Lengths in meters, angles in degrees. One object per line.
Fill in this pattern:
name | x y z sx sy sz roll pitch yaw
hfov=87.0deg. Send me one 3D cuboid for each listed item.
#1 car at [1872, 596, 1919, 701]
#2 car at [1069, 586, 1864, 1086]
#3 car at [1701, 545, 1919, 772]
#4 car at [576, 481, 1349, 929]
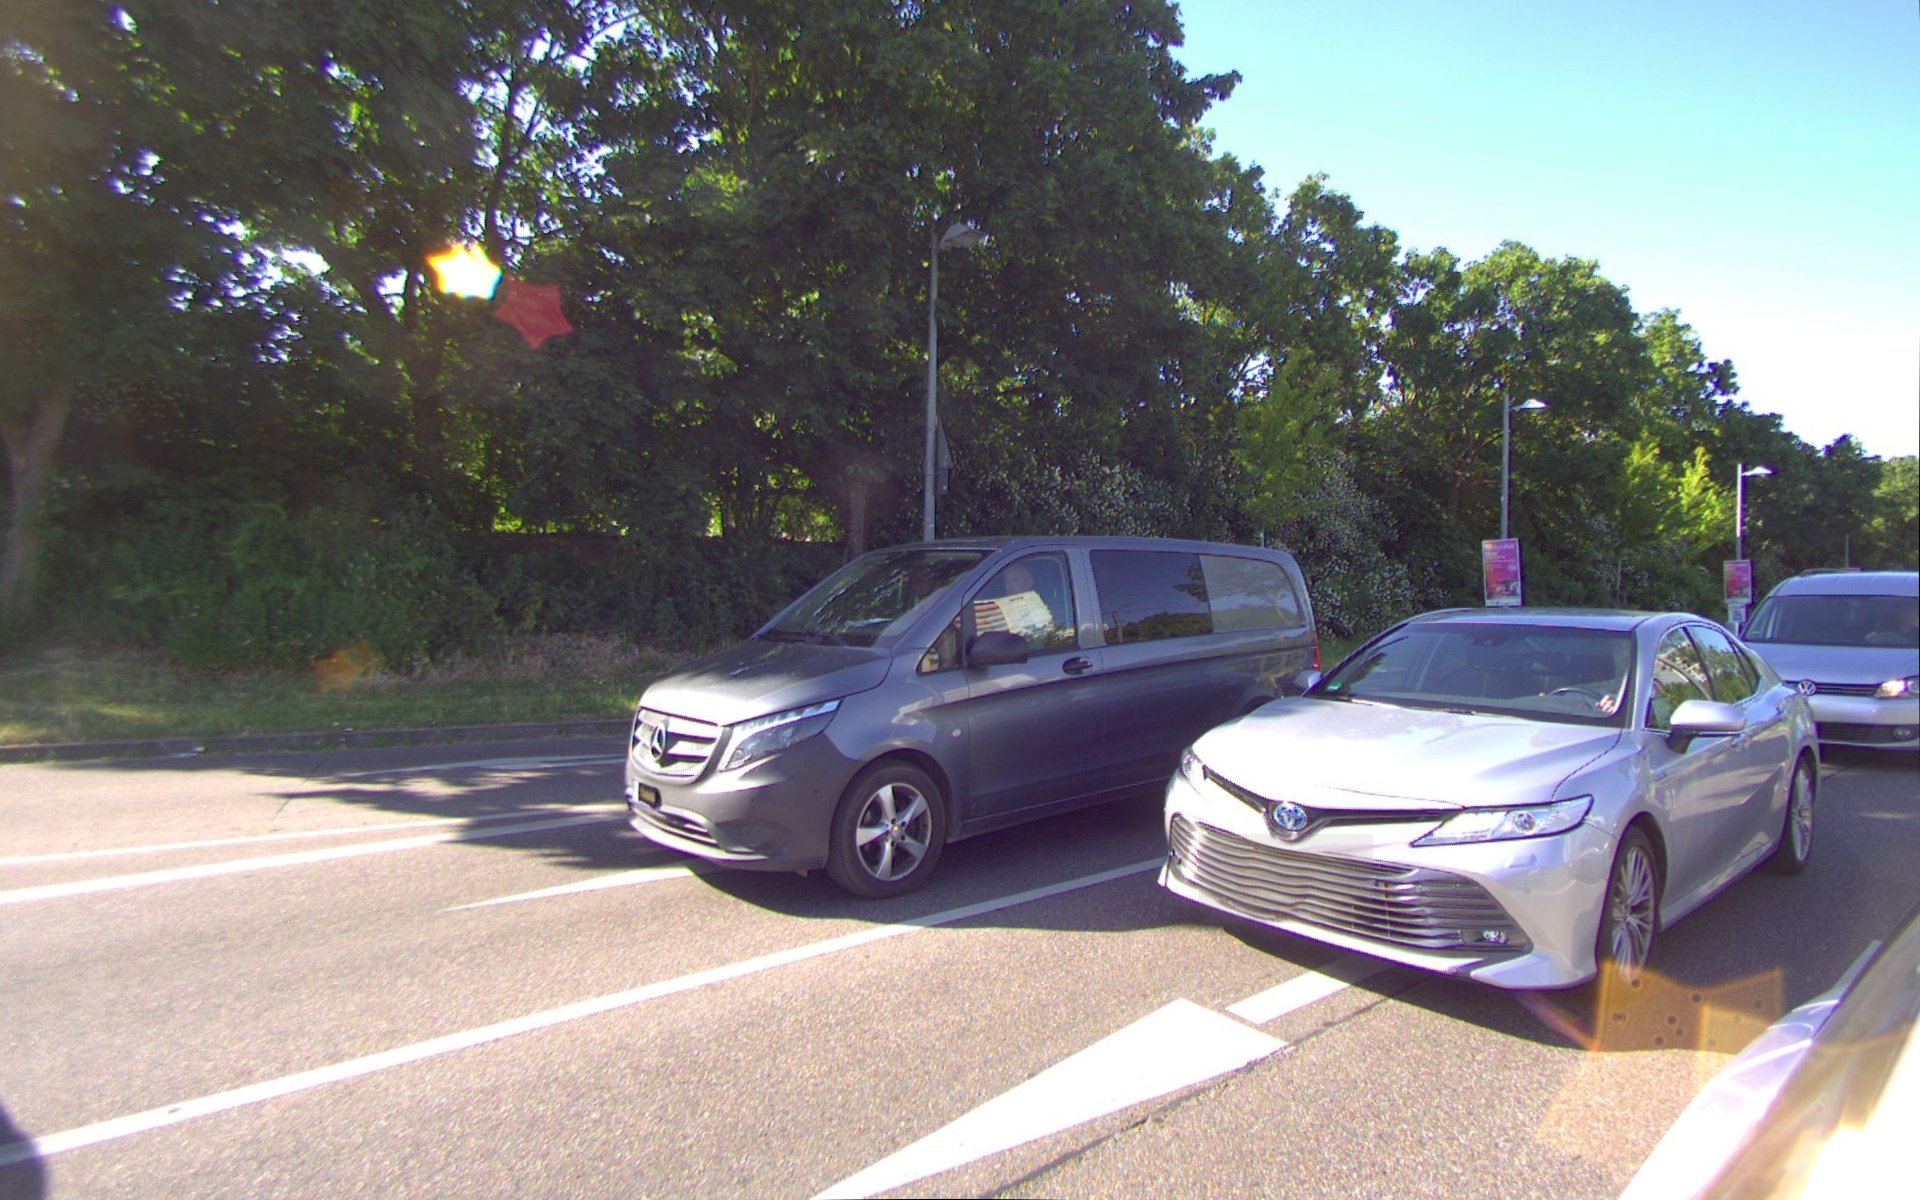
car | 14.976 0.678 14.875 3.995 1.421 1.776 0 1 -40
car | 2.954 0.698 5.358 4.664 1.477 2.069 0 2 -40
car | 9.506 0.475 10.550 4.540 1.928 1.822 0 1 -40
car | 0.343 0.416 6.734 5.056 1.917 1.998 0 1 -40
